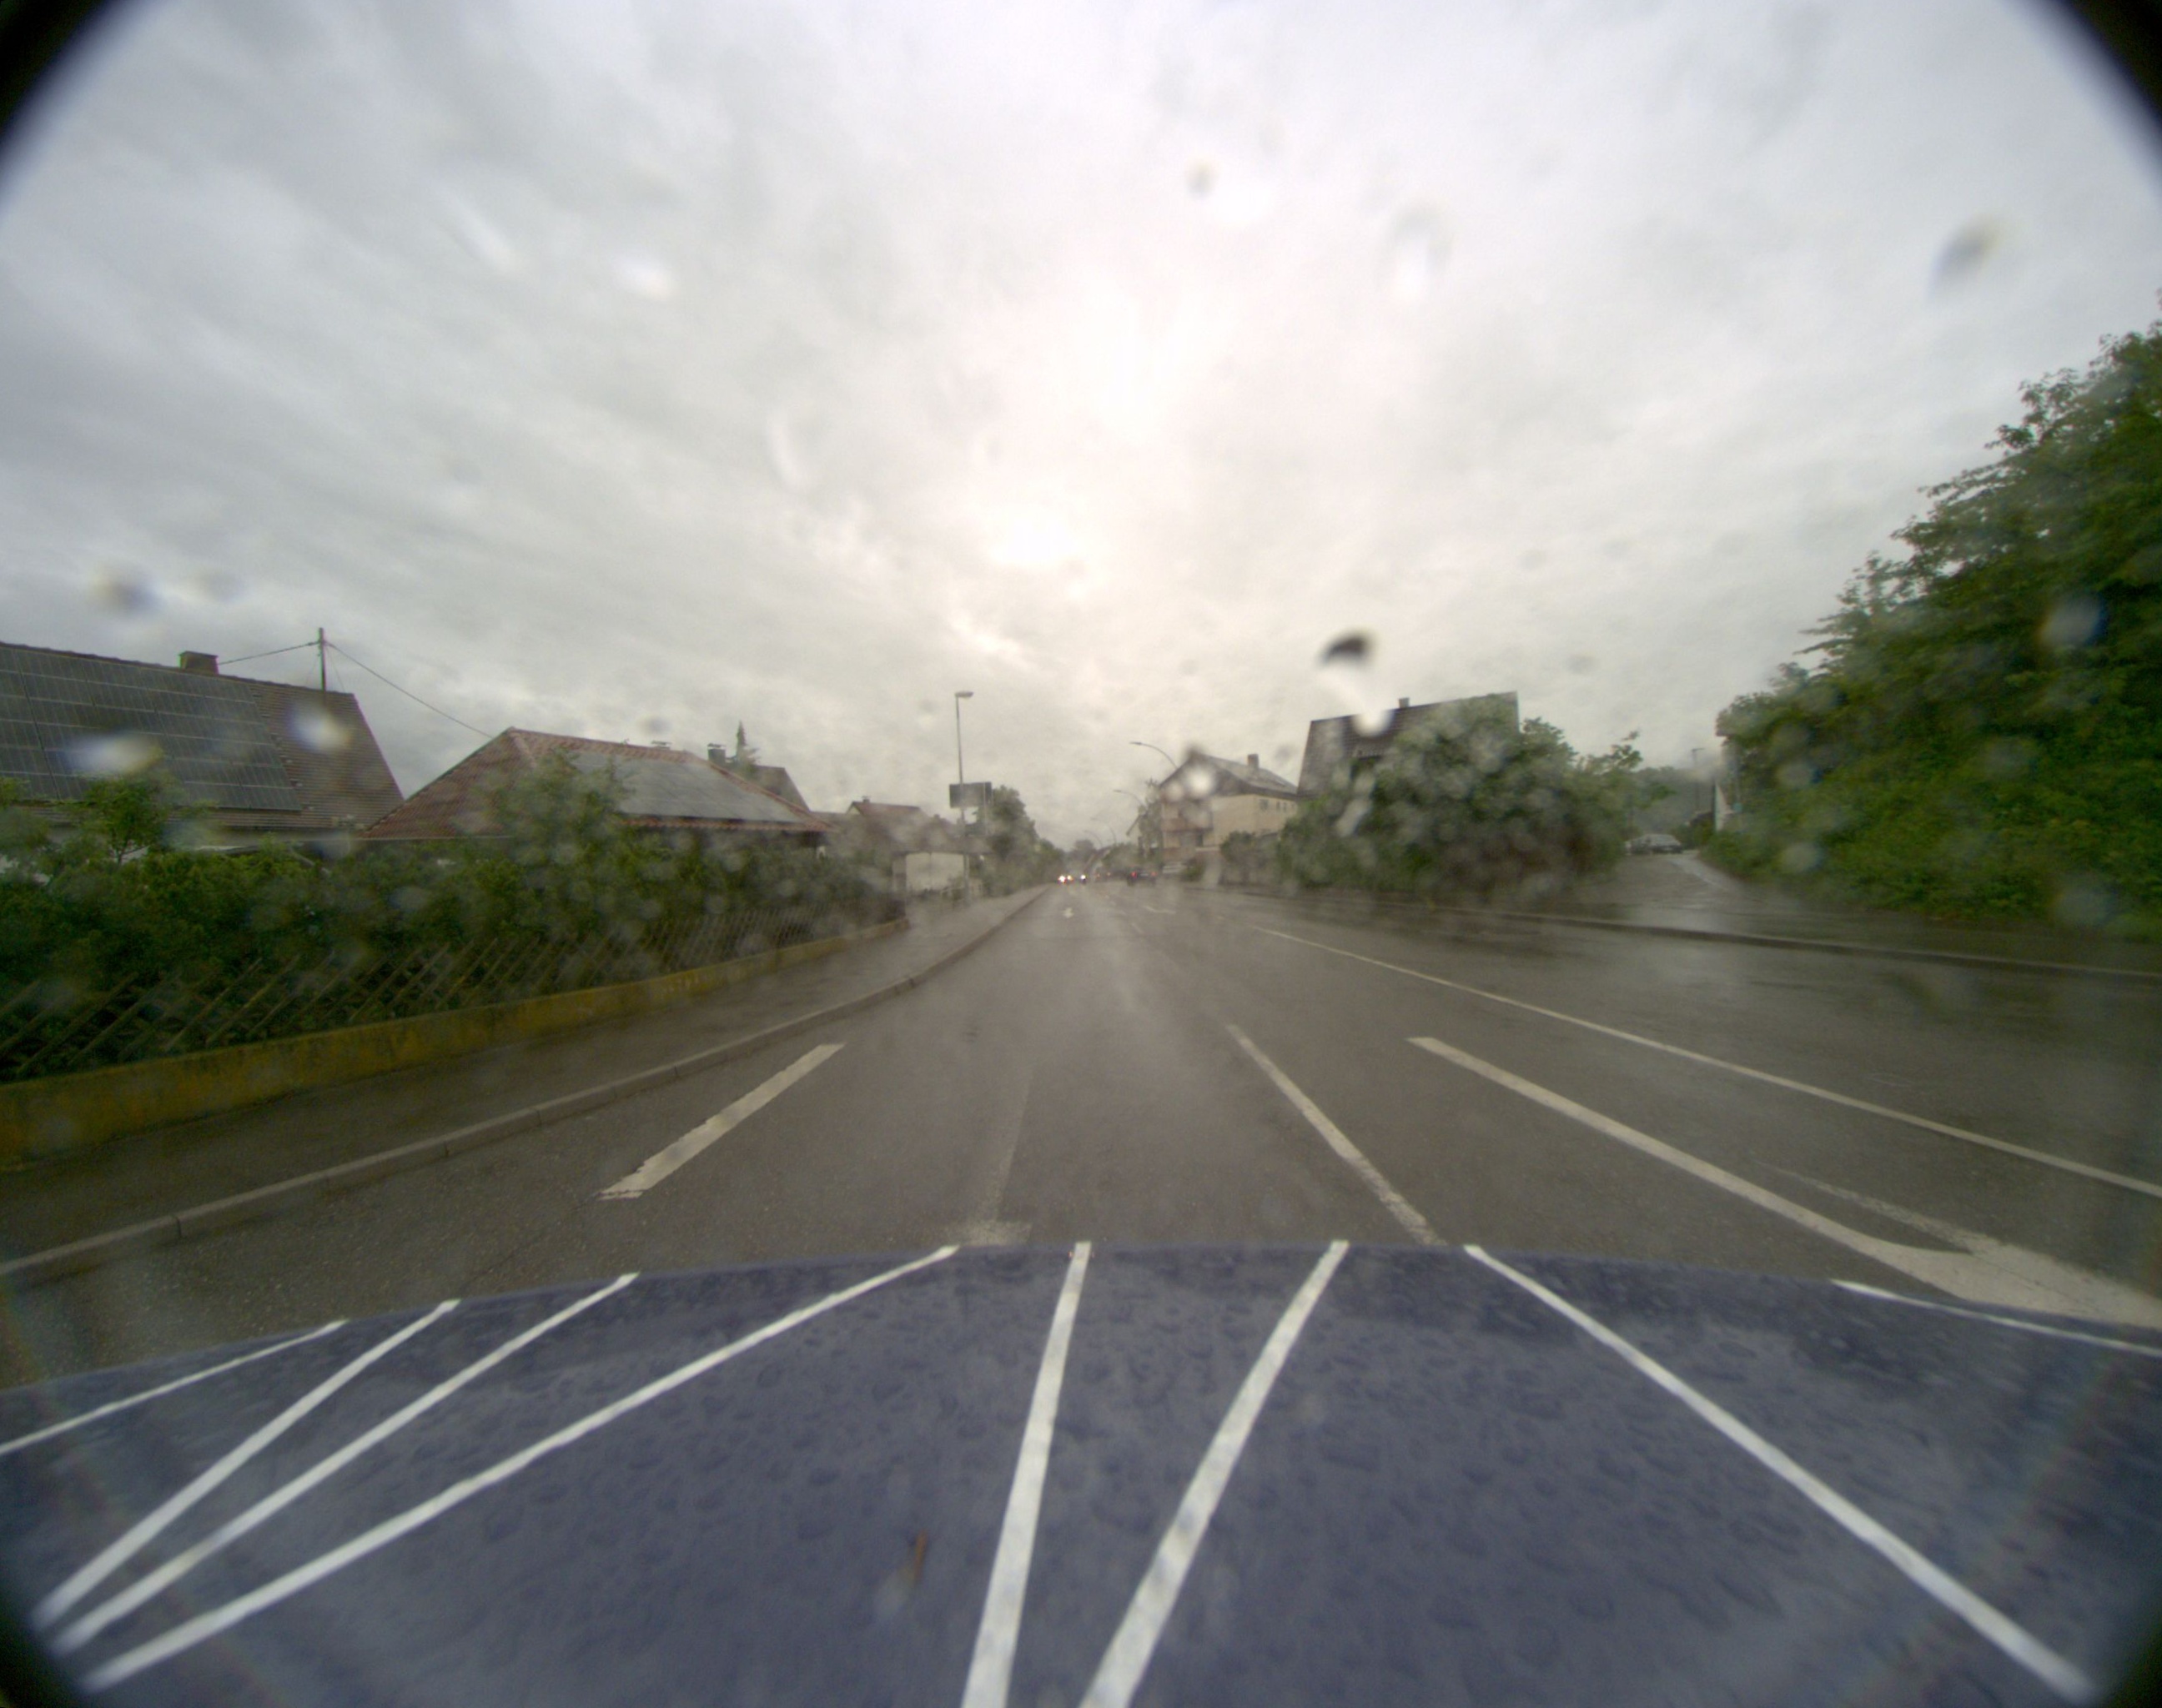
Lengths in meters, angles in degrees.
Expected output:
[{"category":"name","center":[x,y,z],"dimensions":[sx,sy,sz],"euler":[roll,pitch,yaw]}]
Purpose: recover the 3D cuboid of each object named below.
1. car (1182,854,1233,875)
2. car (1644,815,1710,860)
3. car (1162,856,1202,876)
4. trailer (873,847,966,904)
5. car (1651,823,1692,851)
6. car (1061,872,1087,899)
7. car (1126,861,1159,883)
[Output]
[{"category":"car","center":[10.247,0.838,61.537],"dimensions":[3.661,1.510,1.758],"euler":[-3,0,35]},{"category":"car","center":[22.958,-0.658,29.230],"dimensions":[1.706,1.579,3.669],"euler":[-2,0,42]},{"category":"car","center":[8.952,1.027,67.148],"dimensions":[1.864,1.510,4.007],"euler":[-3,0,32]},{"category":"trailer","center":[-7.756,0.994,36.964],"dimensions":[1.645,2.502,4.712],"euler":[-3,-1,28]},{"category":"car","center":[41.114,-1.199,52.868],"dimensions":[1.995,1.848,4.008],"euler":[-3,0,41]},{"category":"car","center":[-0.561,2.671,65.333],"dimensions":[1.998,2.002,4.000],"euler":[-3,0,1]},{"category":"car","center":[4.220,1.235,52.932],"dimensions":[1.681,1.379,3.459],"euler":[-3,0,-5]}]
